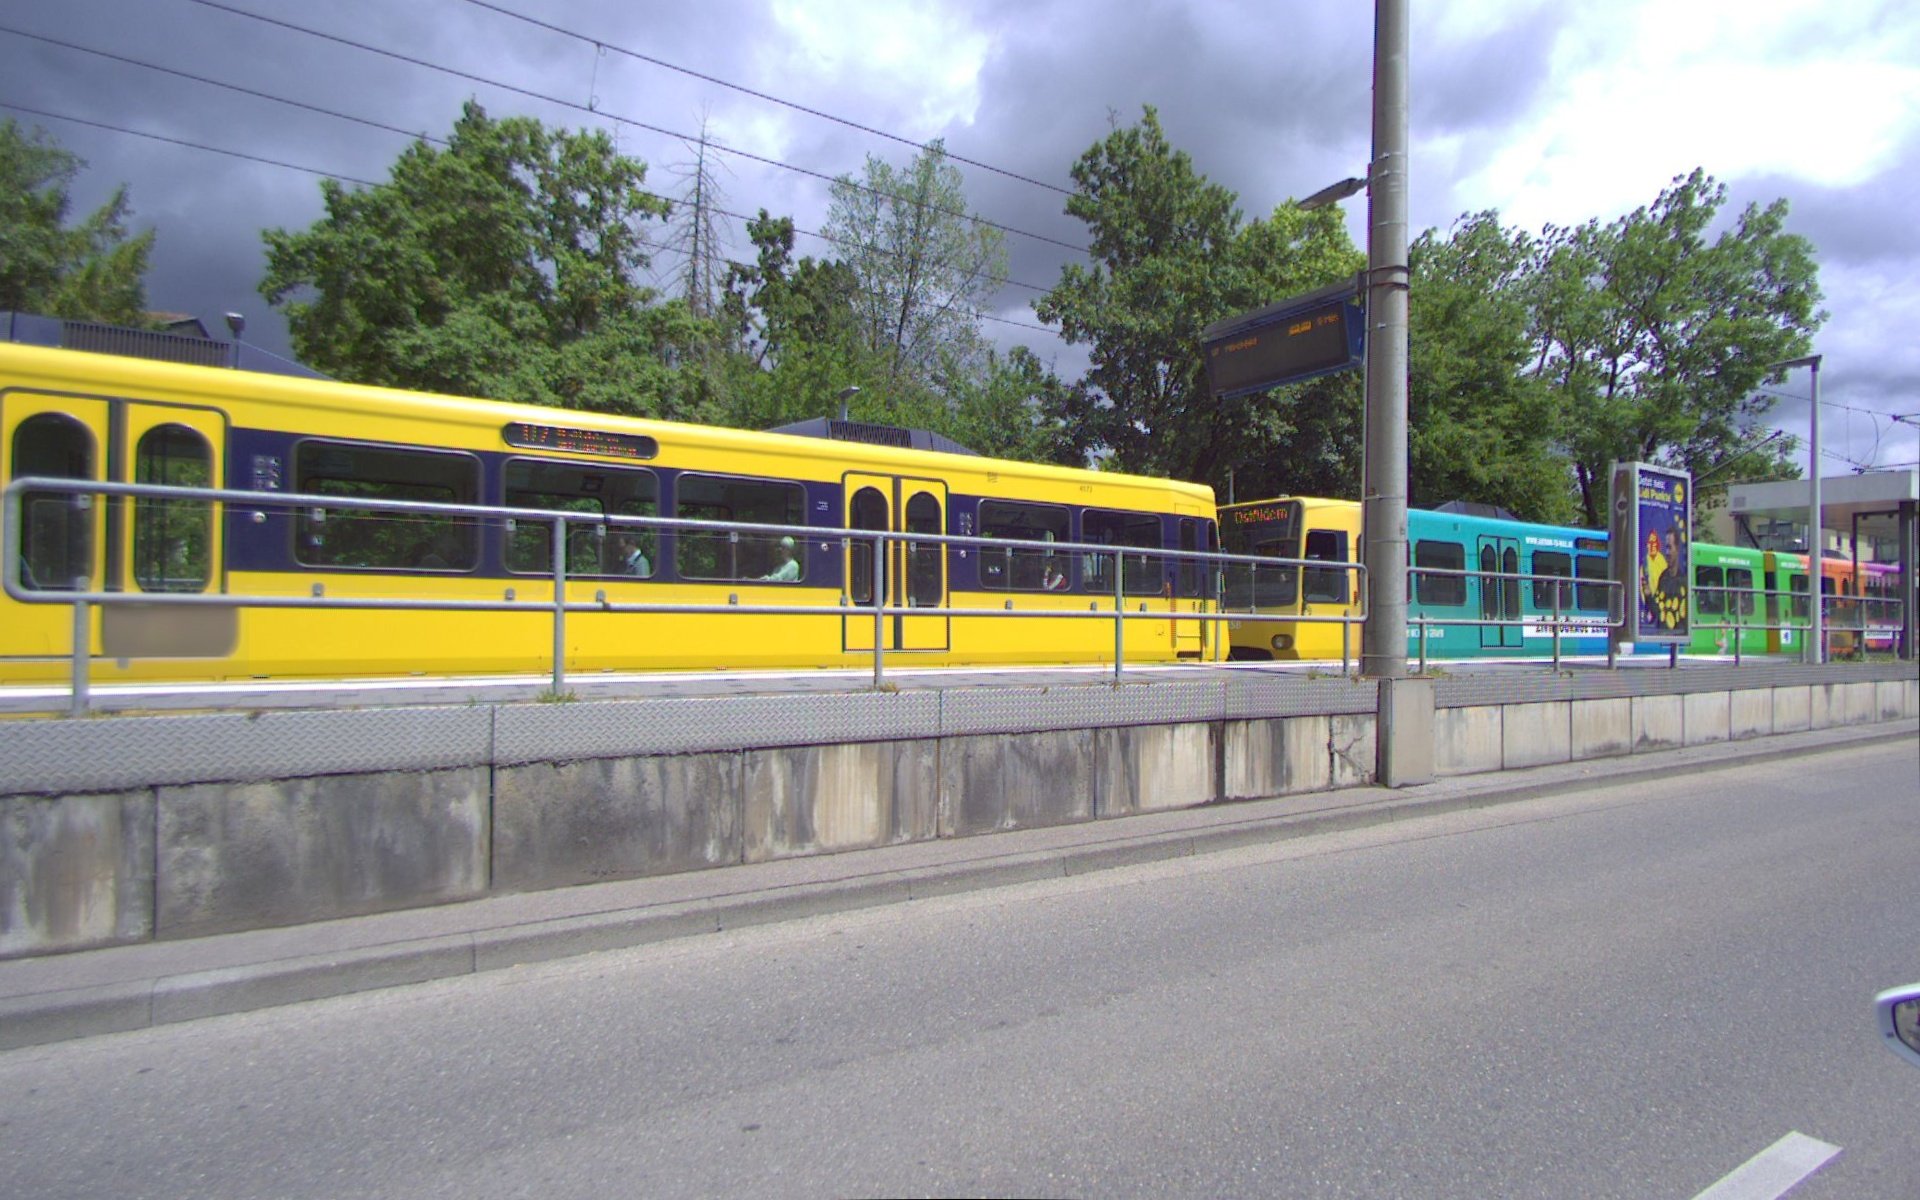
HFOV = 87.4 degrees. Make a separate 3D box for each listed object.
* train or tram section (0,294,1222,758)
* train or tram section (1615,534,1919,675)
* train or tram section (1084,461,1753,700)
[{"bbox_3d":[-4.882,-0.499,10.982,18.790,3.511,3.090,1,0,-33],"label":"train or tram section"},{"bbox_3d":[26.844,0.291,31.498,18.882,3.511,3.090,1,0,-33],"label":"train or tram section"},{"bbox_3d":[10.960,-0.104,21.233,18.990,3.511,3.090,1,0,-33],"label":"train or tram section"}]
